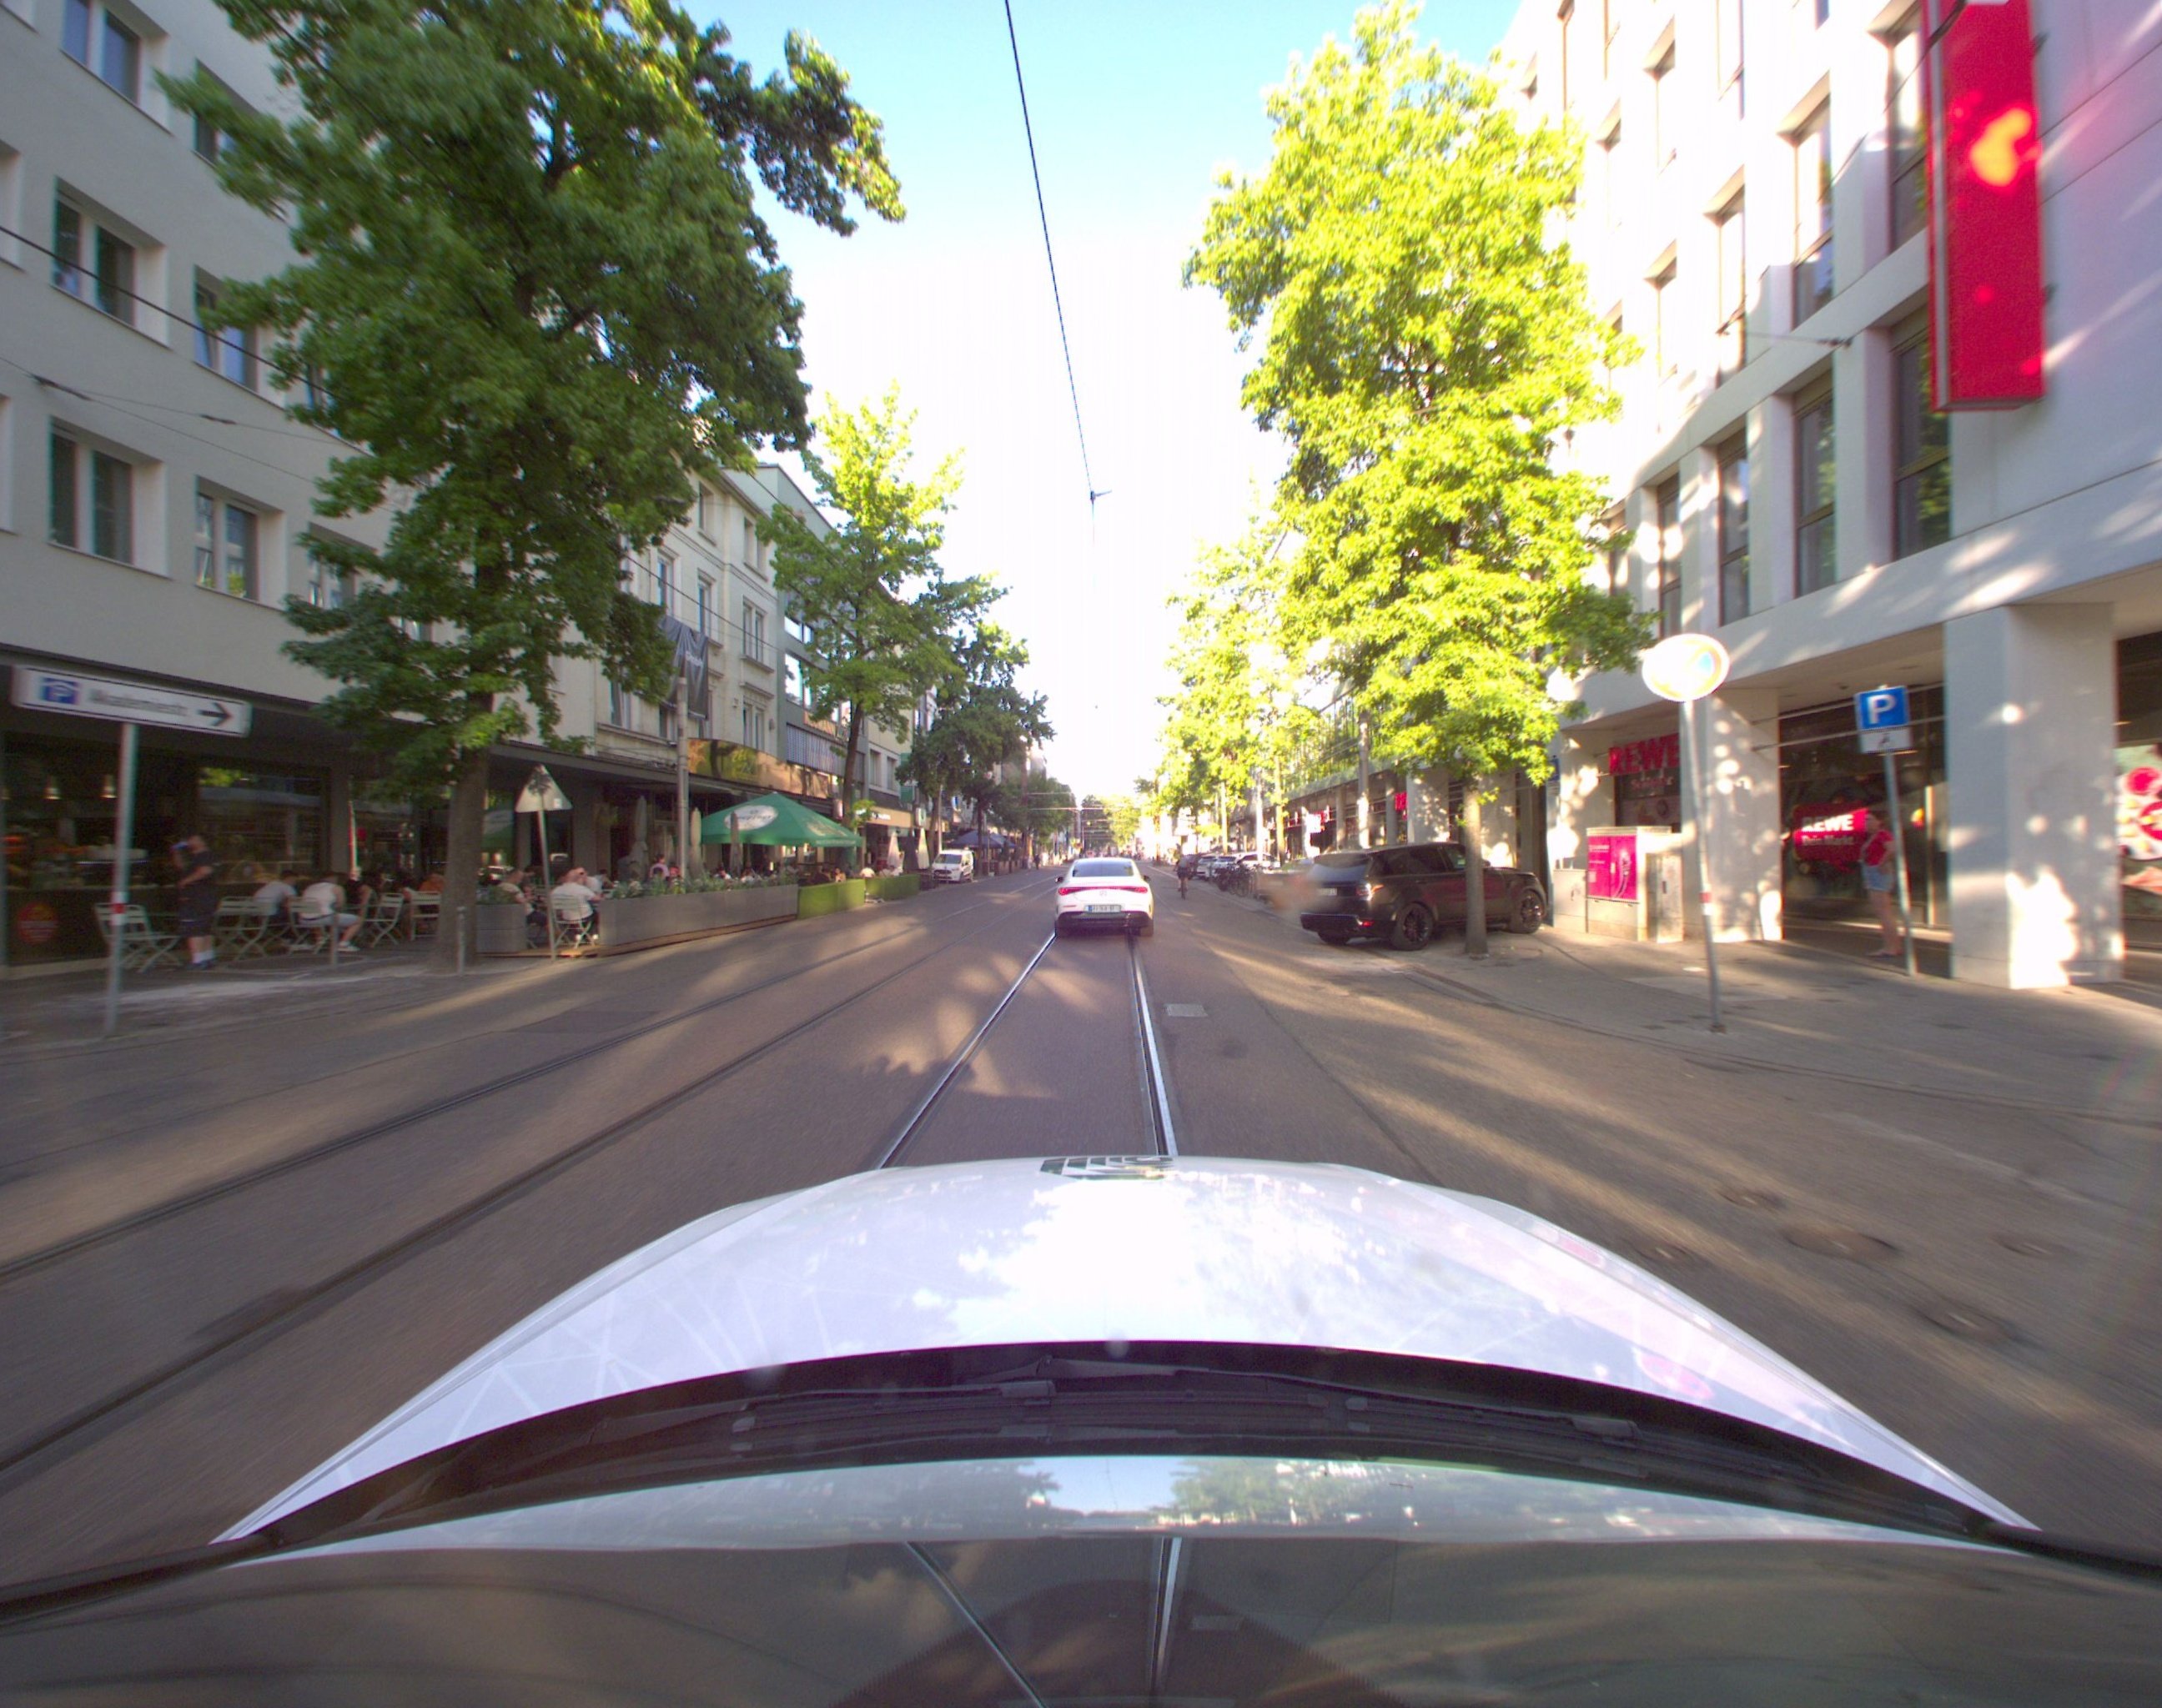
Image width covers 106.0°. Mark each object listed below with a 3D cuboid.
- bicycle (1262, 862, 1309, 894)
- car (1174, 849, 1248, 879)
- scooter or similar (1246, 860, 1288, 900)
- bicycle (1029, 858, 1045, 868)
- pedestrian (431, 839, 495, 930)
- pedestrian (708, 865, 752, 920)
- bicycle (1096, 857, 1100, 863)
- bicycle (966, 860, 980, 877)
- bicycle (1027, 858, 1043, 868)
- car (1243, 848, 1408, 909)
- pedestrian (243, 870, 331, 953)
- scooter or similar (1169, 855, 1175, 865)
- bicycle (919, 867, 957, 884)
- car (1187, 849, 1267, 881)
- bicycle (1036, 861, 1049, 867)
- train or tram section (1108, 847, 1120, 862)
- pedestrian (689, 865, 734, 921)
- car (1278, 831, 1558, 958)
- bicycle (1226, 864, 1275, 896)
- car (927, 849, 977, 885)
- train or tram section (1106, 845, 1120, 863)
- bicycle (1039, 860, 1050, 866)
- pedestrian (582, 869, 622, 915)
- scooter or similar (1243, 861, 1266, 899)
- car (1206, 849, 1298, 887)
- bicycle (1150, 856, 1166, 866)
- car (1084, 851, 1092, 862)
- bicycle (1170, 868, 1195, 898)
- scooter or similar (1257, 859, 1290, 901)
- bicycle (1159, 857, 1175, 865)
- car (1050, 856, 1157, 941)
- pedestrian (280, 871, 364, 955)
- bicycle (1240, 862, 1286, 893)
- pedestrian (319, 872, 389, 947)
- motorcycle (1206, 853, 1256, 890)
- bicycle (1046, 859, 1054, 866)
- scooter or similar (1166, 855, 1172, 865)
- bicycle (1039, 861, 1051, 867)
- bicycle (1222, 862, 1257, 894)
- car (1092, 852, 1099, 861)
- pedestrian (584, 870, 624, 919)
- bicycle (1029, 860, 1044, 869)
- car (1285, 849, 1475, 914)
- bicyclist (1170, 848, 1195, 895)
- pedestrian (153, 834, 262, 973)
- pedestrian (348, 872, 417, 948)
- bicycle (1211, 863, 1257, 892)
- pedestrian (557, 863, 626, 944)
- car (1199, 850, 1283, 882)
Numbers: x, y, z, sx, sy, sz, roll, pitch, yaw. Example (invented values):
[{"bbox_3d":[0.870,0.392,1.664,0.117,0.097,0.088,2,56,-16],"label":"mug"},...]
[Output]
[{"bbox_3d":[7.886,0.901,31.393,1.679,1.074,0.726,-4,1,-28],"label":"bicycle"},{"bbox_3d":[8.157,0.624,50.991,4.369,1.652,1.679,-3,0,-29],"label":"car"},{"bbox_3d":[6.409,0.886,28.044,1.311,1.276,0.559,-4,-1,-30],"label":"scooter or similar"},{"bbox_3d":[-5.051,1.006,92.811,1.784,1.077,0.377,0,0,-2],"label":"bicycle"},{"bbox_3d":[-12.615,0.607,16.636,0.679,1.791,0.763,1,0,17],"label":"pedestrian"},{"bbox_3d":[-8.903,0.966,20.682,0.704,1.347,0.782,1,0,4],"label":"pedestrian"},{"bbox_3d":[3.649,1.282,171.928,0.797,1.142,2.257,1,0,1],"label":"bicycle"},{"bbox_3d":[-7.570,1.001,57.064,0.699,1.121,2.076,2,0,-15],"label":"bicycle"},{"bbox_3d":[-5.422,1.066,96.626,1.838,1.141,0.377,0,0,3],"label":"bicycle"},{"bbox_3d":[7.480,0.702,24.740,5.081,1.469,1.956,-4,0,-34],"label":"car"},{"bbox_3d":[-12.715,0.907,13.060,0.642,1.269,0.739,1,0,3],"label":"pedestrian"},{"bbox_3d":[11.712,0.824,104.542,0.491,1.277,0.658,-3,0,-9],"label":"scooter or similar"},{"bbox_3d":[-7.481,1.111,42.697,0.826,0.865,1.872,1,0,41],"label":"bicycle"},{"bbox_3d":[8.446,0.629,46.968,4.261,1.587,1.866,-3,0,-29],"label":"car"},{"bbox_3d":[-4.733,1.205,100.506,1.486,0.783,0.345,0,0,3],"label":"bicycle"},{"bbox_3d":[7.894,0.126,194.984,2.684,3.516,11.150,-1,0,2],"label":"train or tram section"},{"bbox_3d":[-8.974,0.939,19.807,0.686,1.312,0.807,1,0,3],"label":"pedestrian"},{"bbox_3d":[6.035,0.627,14.496,4.678,1.763,1.977,-3,0,-27],"label":"car"},{"bbox_3d":[6.347,0.966,30.571,1.567,1.088,0.861,-4,1,-28],"label":"bicycle"},{"bbox_3d":[-7.246,0.709,46.081,1.788,1.864,4.557,2,0,3],"label":"car"},{"bbox_3d":[6.798,0.079,170.599,2.684,3.516,12.552,-1,0,2],"label":"train or tram section"},{"bbox_3d":[-4.945,1.278,110.268,1.486,0.783,0.345,0,0,3],"label":"bicycle"},{"bbox_3d":[-12.444,0.975,21.182,0.599,1.158,0.687,1,0,3],"label":"pedestrian"},{"bbox_3d":[6.171,0.901,28.991,0.449,1.276,1.307,-5,-1,1],"label":"scooter or similar"},{"bbox_3d":[8.277,0.640,39.418,4.174,1.571,1.836,-3,0,-31],"label":"car"},{"bbox_3d":[10.373,0.901,109.857,1.908,1.281,0.608,-3,-1,-9],"label":"bicycle"},{"bbox_3d":[1.895,0.608,221.379,1.985,2.897,5.278,-1,0,3],"label":"car"},{"bbox_3d":[3.595,1.002,28.775,0.714,0.995,2.065,1,0,11],"label":"bicycle"},{"bbox_3d":[6.454,0.862,27.220,0.452,1.276,1.315,-5,-1,39],"label":"scooter or similar"},{"bbox_3d":[11.824,0.935,112.129,2.114,1.096,0.607,-1,-1,-11],"label":"bicycle"},{"bbox_3d":[0.470,0.773,16.209,1.850,1.455,4.177,0,0,2],"label":"car"},{"bbox_3d":[-12.060,0.916,12.962,0.624,1.282,0.728,1,0,3],"label":"pedestrian"},{"bbox_3d":[7.270,0.922,32.509,1.697,1.106,0.627,-4,-1,-24],"label":"bicycle"},{"bbox_3d":[-12.524,0.936,14.050,0.550,1.235,0.687,1,0,3],"label":"pedestrian"},{"bbox_3d":[6.700,0.757,36.332,2.332,1.510,0.849,-3,-1,-42],"label":"motorcycle"},{"bbox_3d":[-5.016,1.374,133.256,0.713,1.010,2.048,-1,0,16],"label":"bicycle"},{"bbox_3d":[11.322,0.722,105.100,0.527,1.277,0.658,-3,0,-9],"label":"scooter or similar"},{"bbox_3d":[-4.444,1.240,101.300,1.486,0.783,0.345,0,0,3],"label":"bicycle"},{"bbox_3d":[6.399,0.947,32.821,0.475,1.163,1.705,-5,-1,42],"label":"bicycle"},{"bbox_3d":[4.220,0.653,240.002,1.902,2.461,5.278,-1,0,3],"label":"car"},{"bbox_3d":[-11.767,0.987,20.111,0.550,1.161,0.687,1,0,3],"label":"pedestrian"},{"bbox_3d":[-4.869,1.176,89.563,1.586,0.930,0.378,0,0,9],"label":"bicycle"},{"bbox_3d":[8.141,0.702,22.221,4.666,1.426,1.922,-3,0,-19],"label":"car"},{"bbox_3d":[3.584,0.615,28.685,0.772,1.613,0.915,1,0,11],"label":"bicyclist"},{"bbox_3d":[-11.937,0.649,11.145,0.679,1.815,0.767,1,0,17],"label":"pedestrian"},{"bbox_3d":[-11.983,0.947,13.993,0.550,1.235,0.687,1,0,3],"label":"pedestrian"},{"bbox_3d":[6.538,0.983,34.767,1.901,1.119,0.661,-3,-1,-27],"label":"bicycle"},{"bbox_3d":[-8.671,0.862,14.461,0.686,1.386,0.807,1,0,3],"label":"pedestrian"},{"bbox_3d":[8.670,0.642,44.176,4.163,1.499,1.677,-3,0,-22],"label":"car"}]
